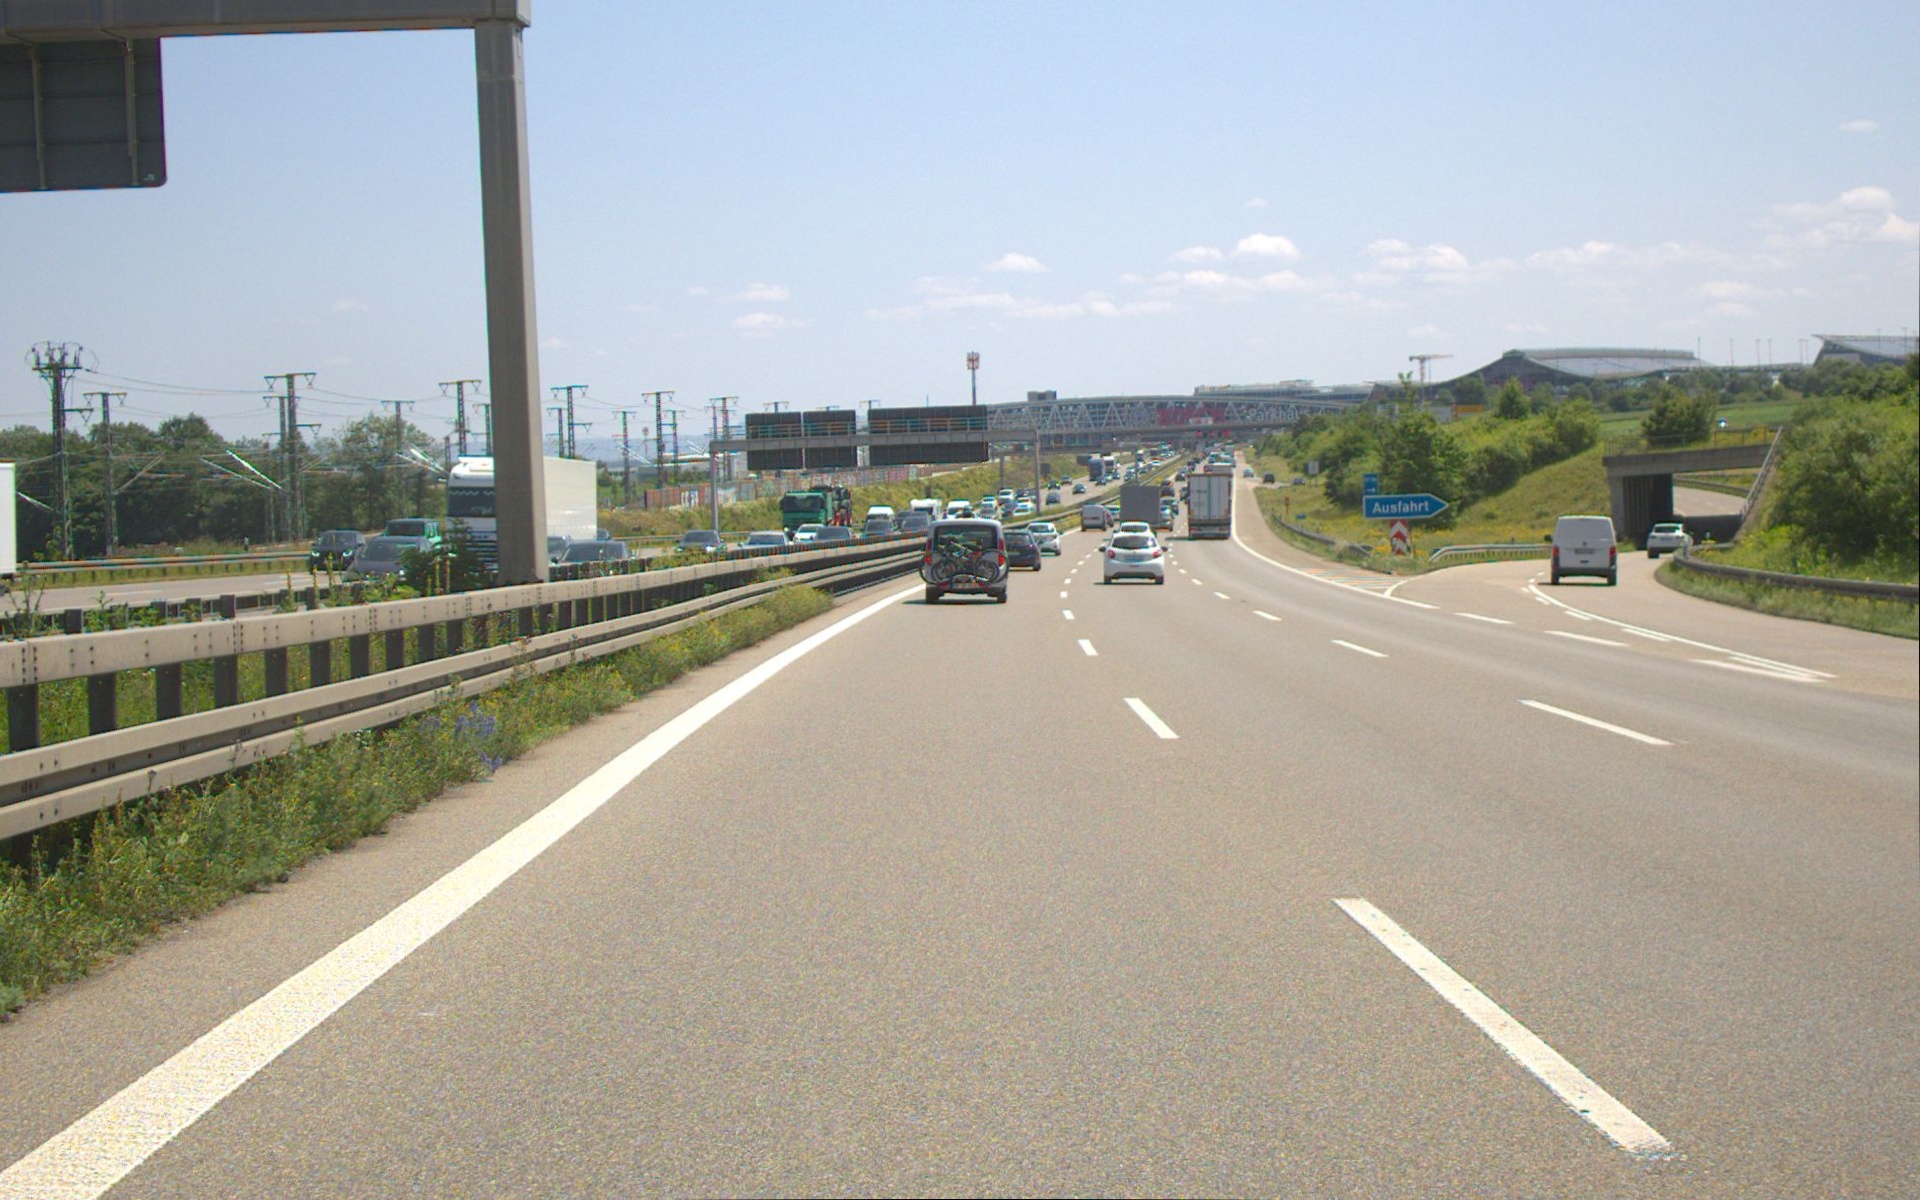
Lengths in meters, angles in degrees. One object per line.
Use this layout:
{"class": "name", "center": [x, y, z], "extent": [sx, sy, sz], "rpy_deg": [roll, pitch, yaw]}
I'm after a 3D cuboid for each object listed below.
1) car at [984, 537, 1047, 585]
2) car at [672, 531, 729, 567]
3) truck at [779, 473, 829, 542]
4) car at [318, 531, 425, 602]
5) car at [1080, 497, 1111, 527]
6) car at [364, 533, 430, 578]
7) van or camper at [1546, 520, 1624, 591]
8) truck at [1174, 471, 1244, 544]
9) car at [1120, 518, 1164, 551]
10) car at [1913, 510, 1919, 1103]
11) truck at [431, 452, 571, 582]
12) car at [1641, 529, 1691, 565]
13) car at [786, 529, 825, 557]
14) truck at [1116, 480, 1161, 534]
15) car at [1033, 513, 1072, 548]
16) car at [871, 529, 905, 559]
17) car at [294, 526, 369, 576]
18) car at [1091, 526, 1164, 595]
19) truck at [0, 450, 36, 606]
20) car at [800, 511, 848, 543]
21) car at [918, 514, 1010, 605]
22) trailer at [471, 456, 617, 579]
{"class": "car", "center": [1.954, -1.354, 119.839], "extent": [1.927, 1.621, 4.517], "rpy_deg": [0, 0, 5]}
{"class": "car", "center": [-10.690, -2.108, 141.924], "extent": [1.841, 1.455, 4.997], "rpy_deg": [0, 1, 2]}
{"class": "truck", "center": [-9.821, -5.793, 217.112], "extent": [2.759, 4.230, 6.978], "rpy_deg": [0, 0, 1]}
{"class": "car", "center": [-13.365, -0.785, 78.258], "extent": [1.742, 1.555, 4.000], "rpy_deg": [0, 1, 0]}
{"class": "car", "center": [9.747, -6.345, 247.497], "extent": [2.186, 1.996, 4.001], "rpy_deg": [0, 4, 1]}
{"class": "car", "center": [-22.148, -1.750, 135.328], "extent": [1.805, 1.742, 4.000], "rpy_deg": [0, 0, 2]}
{"class": "van or camper", "center": [18.027, -1.278, 99.280], "extent": [2.157, 2.007, 4.302], "rpy_deg": [0, 0, 10]}
{"class": "truck", "center": [15.239, -5.757, 211.414], "extent": [4.039, 4.247, 11.757], "rpy_deg": [0, 3, 3]}
{"class": "car", "center": [8.451, -3.043, 159.902], "extent": [1.982, 1.468, 4.000], "rpy_deg": [0, 1, 3]}
{"class": "car", "center": [3.639, 0.589, 7.086], "extent": [1.898, 1.641, 4.999], "rpy_deg": [0, 0, -1]}
{"class": "truck", "center": [-15.202, -2.748, 114.429], "extent": [3.248, 4.195, 7.692], "rpy_deg": [0, 1, 3]}
{"class": "car", "center": [35.192, -2.648, 171.240], "extent": [1.995, 1.744, 3.996], "rpy_deg": [0, 0, 18]}
{"class": "car", "center": [-8.321, -3.061, 185.410], "extent": [1.756, 1.476, 4.634], "rpy_deg": [0, 1, 2]}
{"class": "truck", "center": [10.945, -5.688, 211.121], "extent": [2.703, 3.098, 10.658], "rpy_deg": [0, 0, 3]}
{"class": "car", "center": [4.207, -3.167, 156.455], "extent": [1.576, 1.547, 3.963], "rpy_deg": [0, 0, 4]}
{"class": "car", "center": [-4.205, -3.309, 202.124], "extent": [1.756, 1.735, 4.721], "rpy_deg": [0, 1, 2]}
{"class": "car", "center": [-22.386, -1.719, 122.609], "extent": [1.805, 1.742, 4.000], "rpy_deg": [0, 0, 2]}
{"class": "car", "center": [4.740, -1.115, 97.716], "extent": [1.926, 1.912, 4.517], "rpy_deg": [0, 0, 1]}
{"class": "truck", "center": [-20.664, -1.431, 68.298], "extent": [2.320, 3.156, 8.113], "rpy_deg": [0, 1, 1]}
{"class": "car", "center": [-6.214, -3.338, 157.263], "extent": [1.841, 1.455, 4.997], "rpy_deg": [0, 1, 2]}
{"class": "car", "center": [0.118, -0.877, 74.890], "extent": [1.926, 1.912, 4.948], "rpy_deg": [0, 0, 1]}
{"class": "trailer", "center": [-14.746, -2.885, 122.767], "extent": [3.223, 4.178, 11.408], "rpy_deg": [0, 1, 3]}
